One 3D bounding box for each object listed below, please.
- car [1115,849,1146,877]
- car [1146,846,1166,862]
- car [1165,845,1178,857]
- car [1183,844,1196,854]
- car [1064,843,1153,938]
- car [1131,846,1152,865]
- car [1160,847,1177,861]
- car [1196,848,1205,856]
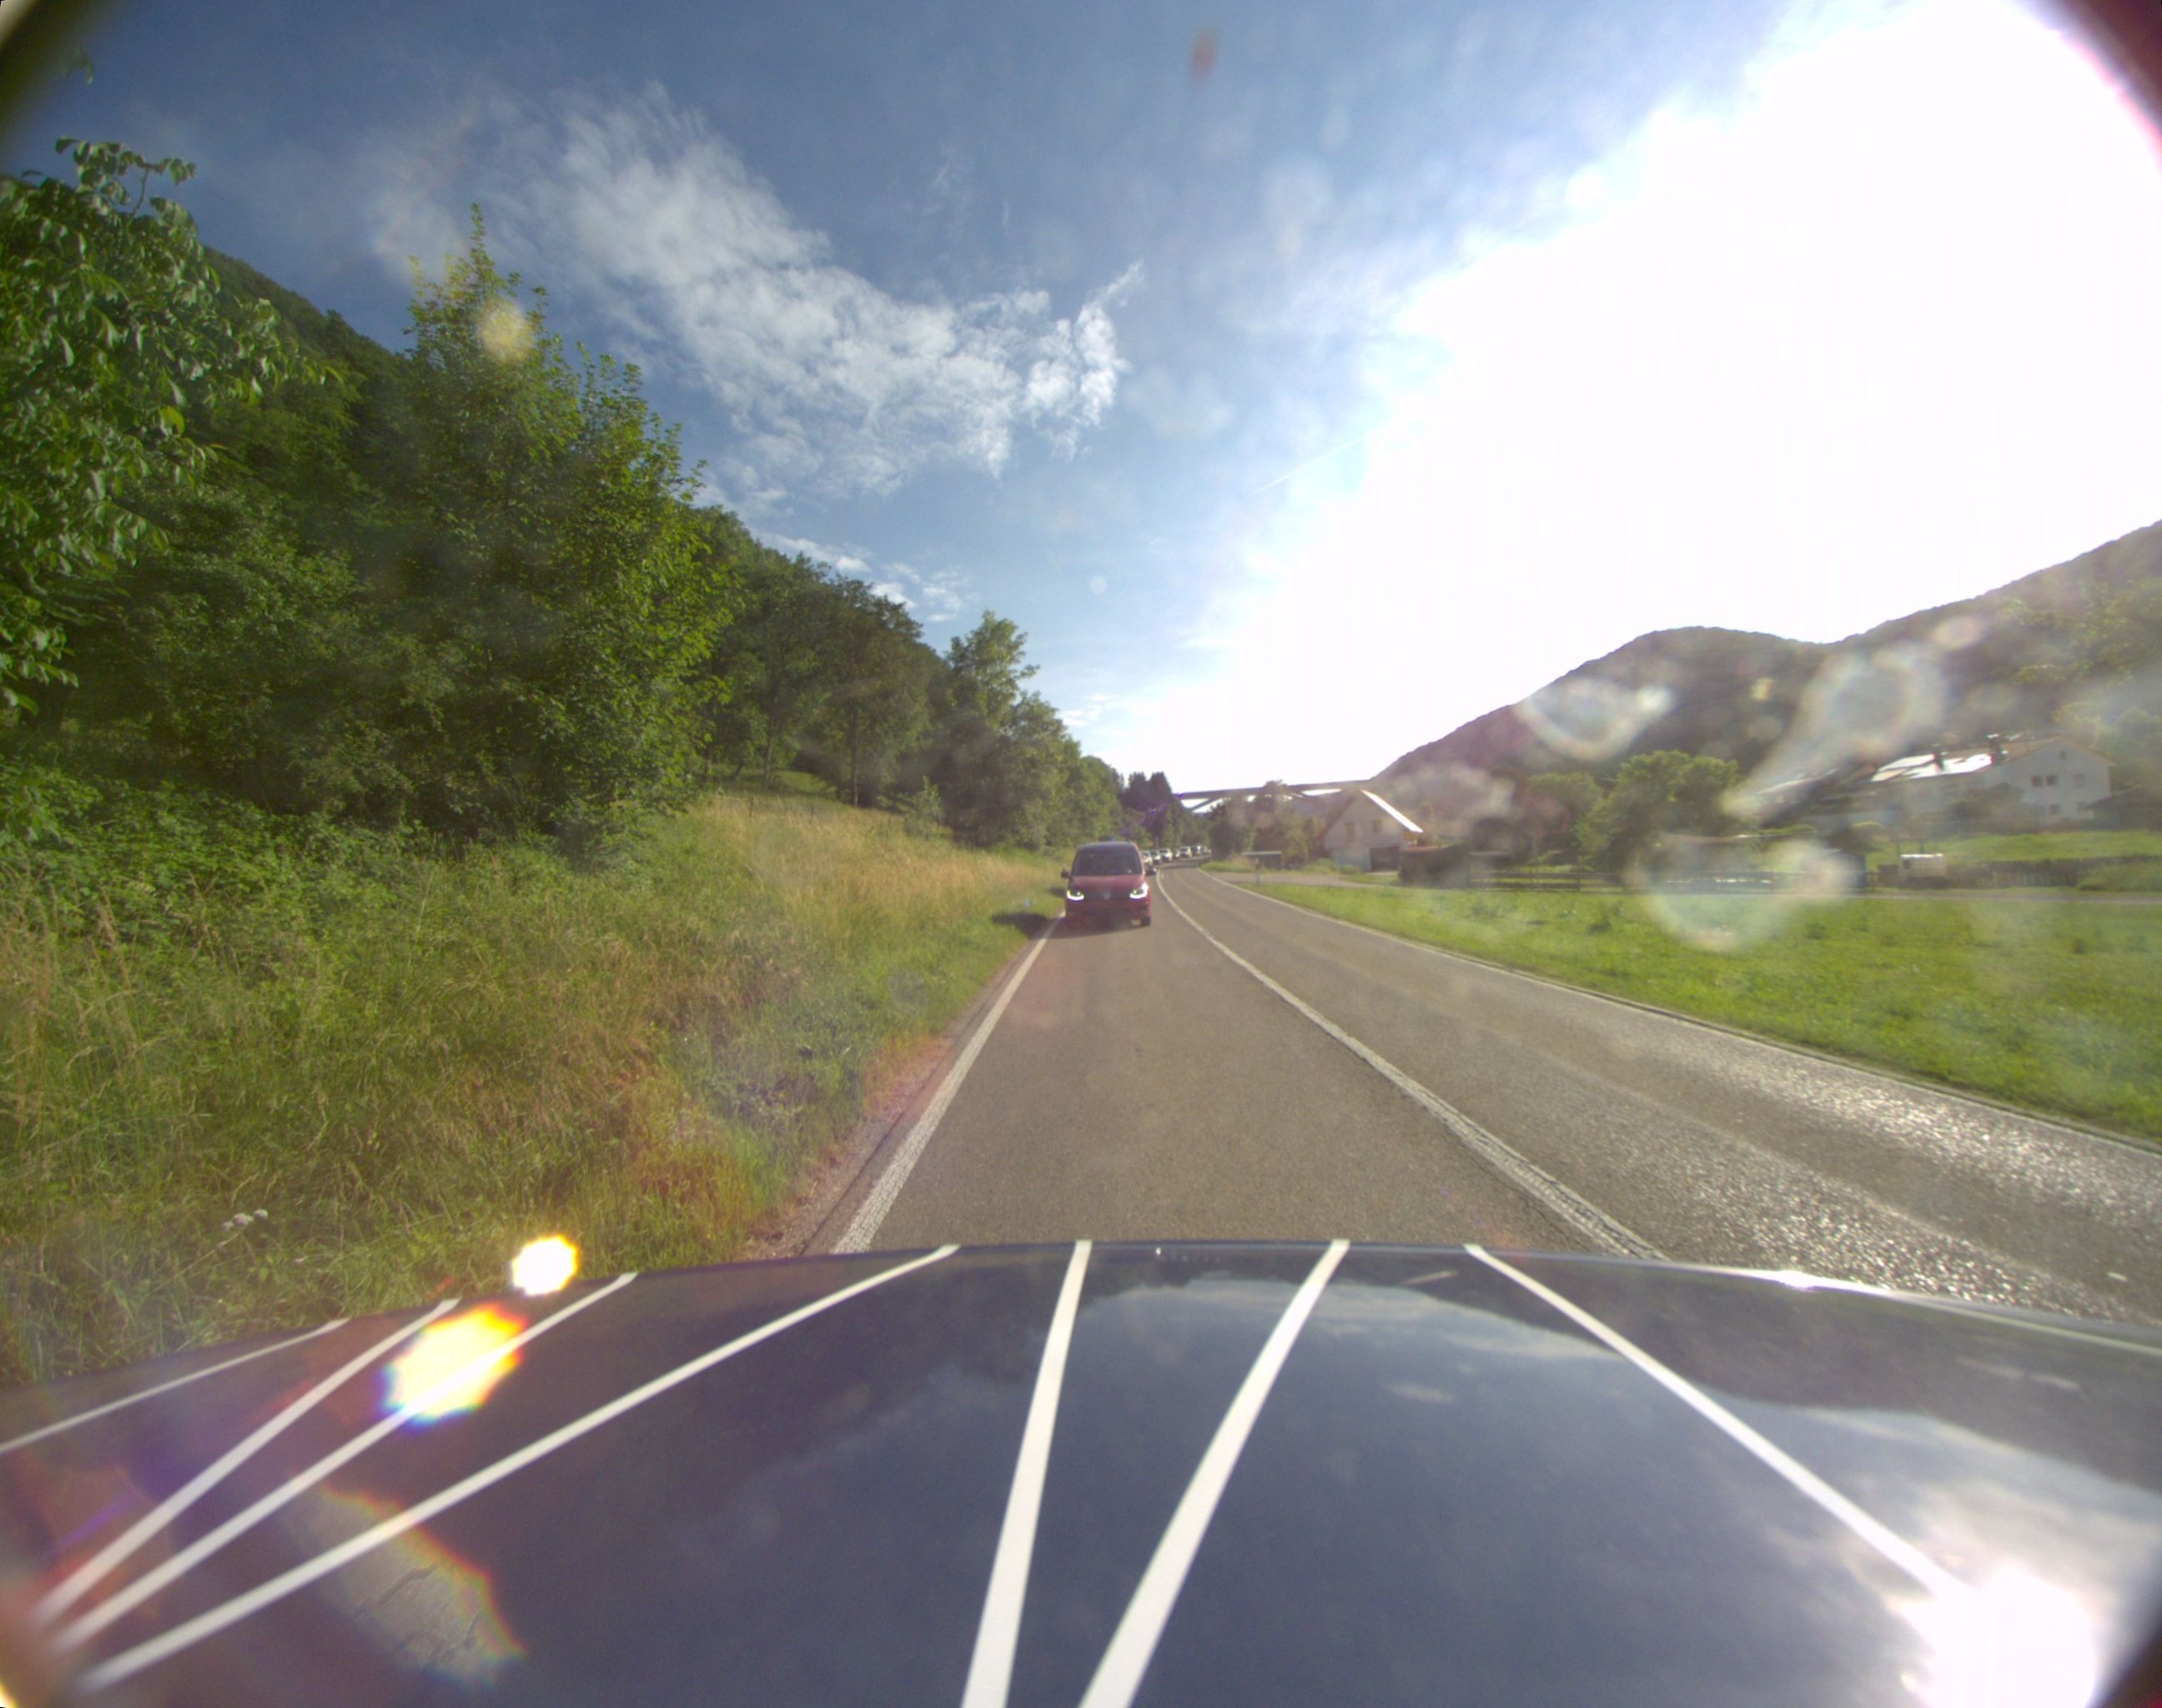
[{"bbox_3d":[2.891,0.496,43.786,1.629,1.470,3.680,-2,1,5],"label":"car"},{"bbox_3d":[7.312,-0.002,74.368,1.630,1.470,3.679,-2,1,1],"label":"car"},{"bbox_3d":[12.259,-0.400,102.675,1.629,1.470,3.681,-2,1,8],"label":"car"},{"bbox_3d":[16.836,-0.808,117.991,1.629,1.470,3.680,-2,1,4],"label":"car"},{"bbox_3d":[0.572,0.669,16.543,1.649,1.762,4.000,-2,1,1],"label":"car"},{"bbox_3d":[5.207,0.120,65.053,1.629,1.470,3.680,-2,1,5],"label":"car"},{"bbox_3d":[10.092,0.016,87.688,1.630,1.470,3.679,-2,1,1],"label":"car"},{"bbox_3d":[23.301,-0.446,147.743,1.629,1.470,3.681,-2,1,8],"label":"car"}]
